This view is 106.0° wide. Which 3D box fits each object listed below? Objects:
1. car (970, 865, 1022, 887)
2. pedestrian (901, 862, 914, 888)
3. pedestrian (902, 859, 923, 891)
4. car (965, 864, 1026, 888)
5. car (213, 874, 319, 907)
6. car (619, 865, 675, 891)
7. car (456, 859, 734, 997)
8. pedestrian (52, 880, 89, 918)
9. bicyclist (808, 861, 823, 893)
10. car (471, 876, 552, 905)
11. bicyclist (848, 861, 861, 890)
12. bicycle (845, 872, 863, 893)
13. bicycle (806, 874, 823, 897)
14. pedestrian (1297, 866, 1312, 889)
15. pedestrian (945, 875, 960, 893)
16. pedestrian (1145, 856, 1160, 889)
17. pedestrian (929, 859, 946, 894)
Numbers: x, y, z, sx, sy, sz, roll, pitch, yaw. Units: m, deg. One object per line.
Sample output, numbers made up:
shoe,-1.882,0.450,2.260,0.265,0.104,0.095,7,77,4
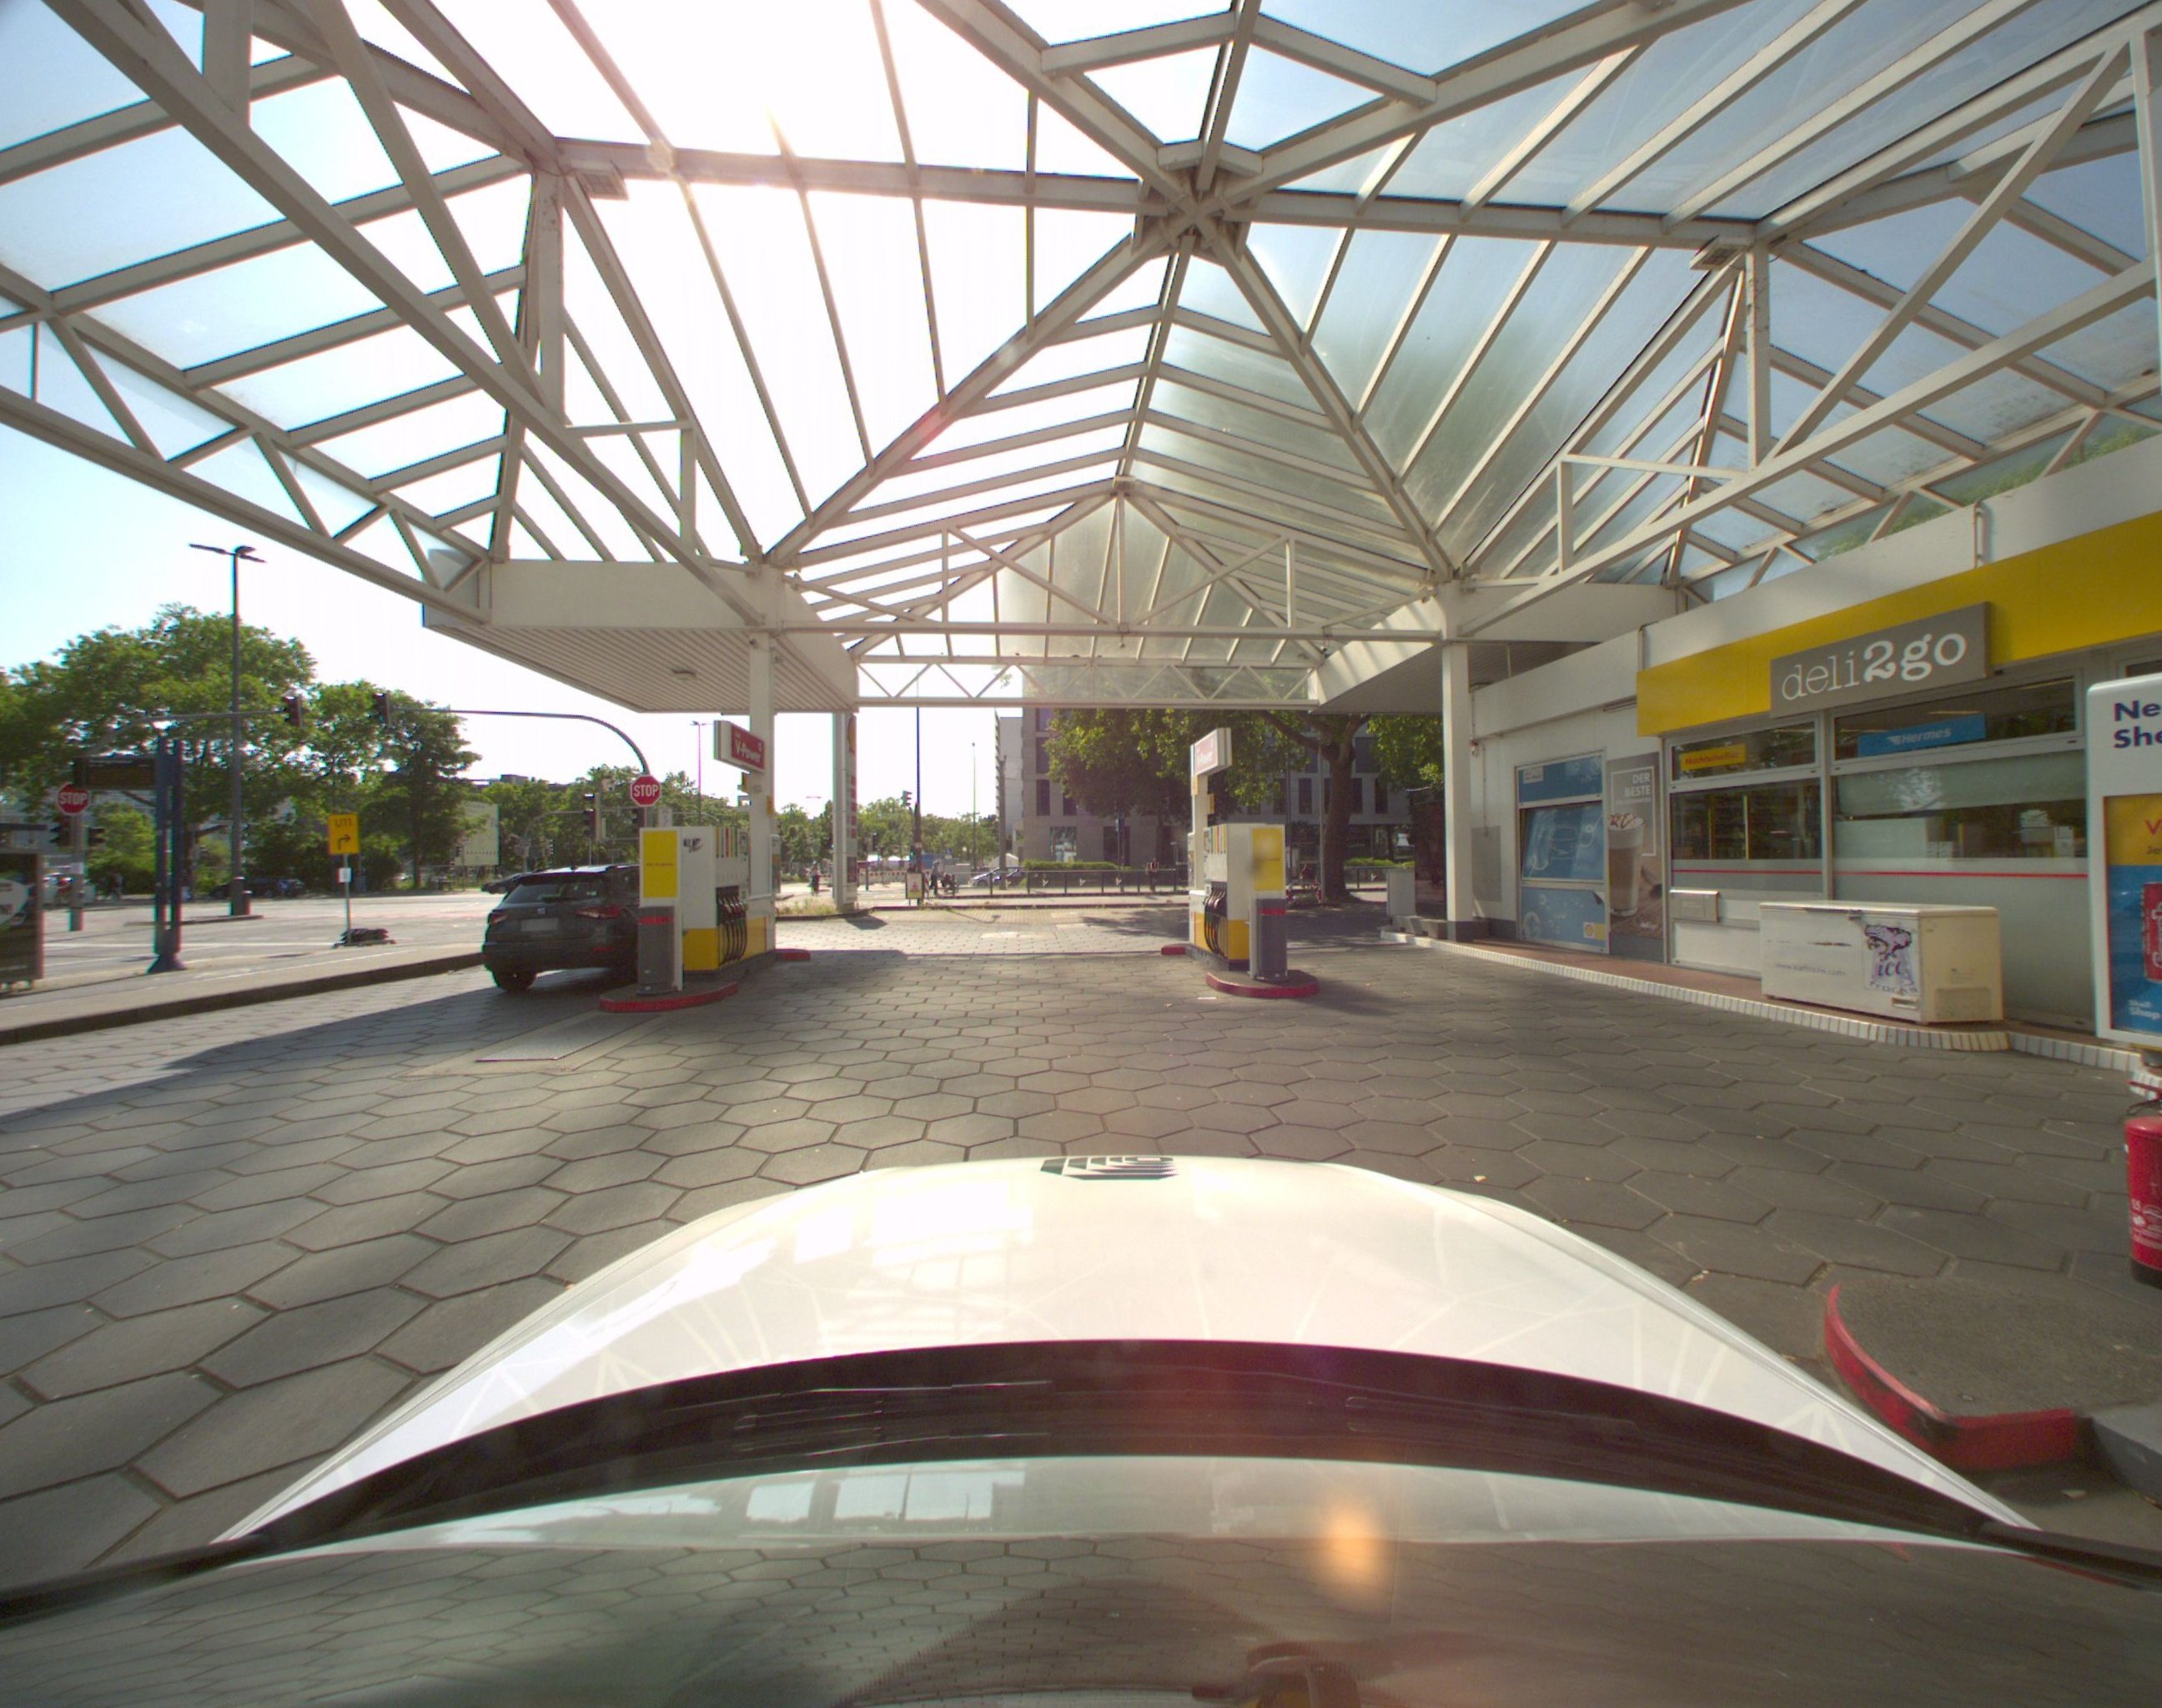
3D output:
car,-6.166,1.575,59.048,3.682,1.552,1.586,-1,-1,-10
pedestrian,-10.485,1.263,49.268,0.647,1.540,0.503,-1,-1,4
pedestrian,-8.793,1.095,42.553,0.927,1.683,0.504,-1,-1,6
car,-5.803,1.475,54.951,3.987,1.552,1.697,-1,-1,-10
car,-51.268,2.280,51.362,4.215,1.805,1.985,-3,-1,-23
car,-36.915,2.007,69.358,1.984,2.014,4.454,-3,-1,6
car,-6.496,0.895,11.477,1.741,1.532,3.993,-2,-1,-5
pedestrian,-47.300,2.092,38.118,0.686,1.723,0.865,-2,-1,-15
bicyclist,-13.759,1.184,42.181,0.638,1.580,1.168,0,-1,-14
car,-39.469,2.516,56.507,1.975,1.805,4.236,-4,-1,44
bicyclist,-12.025,1.129,43.223,0.536,1.544,0.857,0,-2,-28
bicycle,-12.038,1.518,43.179,0.526,1.082,1.850,0,-1,-28
bicycle,-13.720,1.613,41.987,0.638,1.082,2.016,0,-1,-13
pedestrian,11.255,1.183,40.984,0.626,1.138,0.524,-1,-1,2
pedestrian,-6.410,1.499,40.644,0.691,0.880,0.501,-1,-1,-12
pedestrian,3.520,0.892,40.107,0.583,1.591,0.669,-1,1,-5
pedestrian,-7.149,1.111,40.514,0.777,1.683,0.501,0,-1,-12
